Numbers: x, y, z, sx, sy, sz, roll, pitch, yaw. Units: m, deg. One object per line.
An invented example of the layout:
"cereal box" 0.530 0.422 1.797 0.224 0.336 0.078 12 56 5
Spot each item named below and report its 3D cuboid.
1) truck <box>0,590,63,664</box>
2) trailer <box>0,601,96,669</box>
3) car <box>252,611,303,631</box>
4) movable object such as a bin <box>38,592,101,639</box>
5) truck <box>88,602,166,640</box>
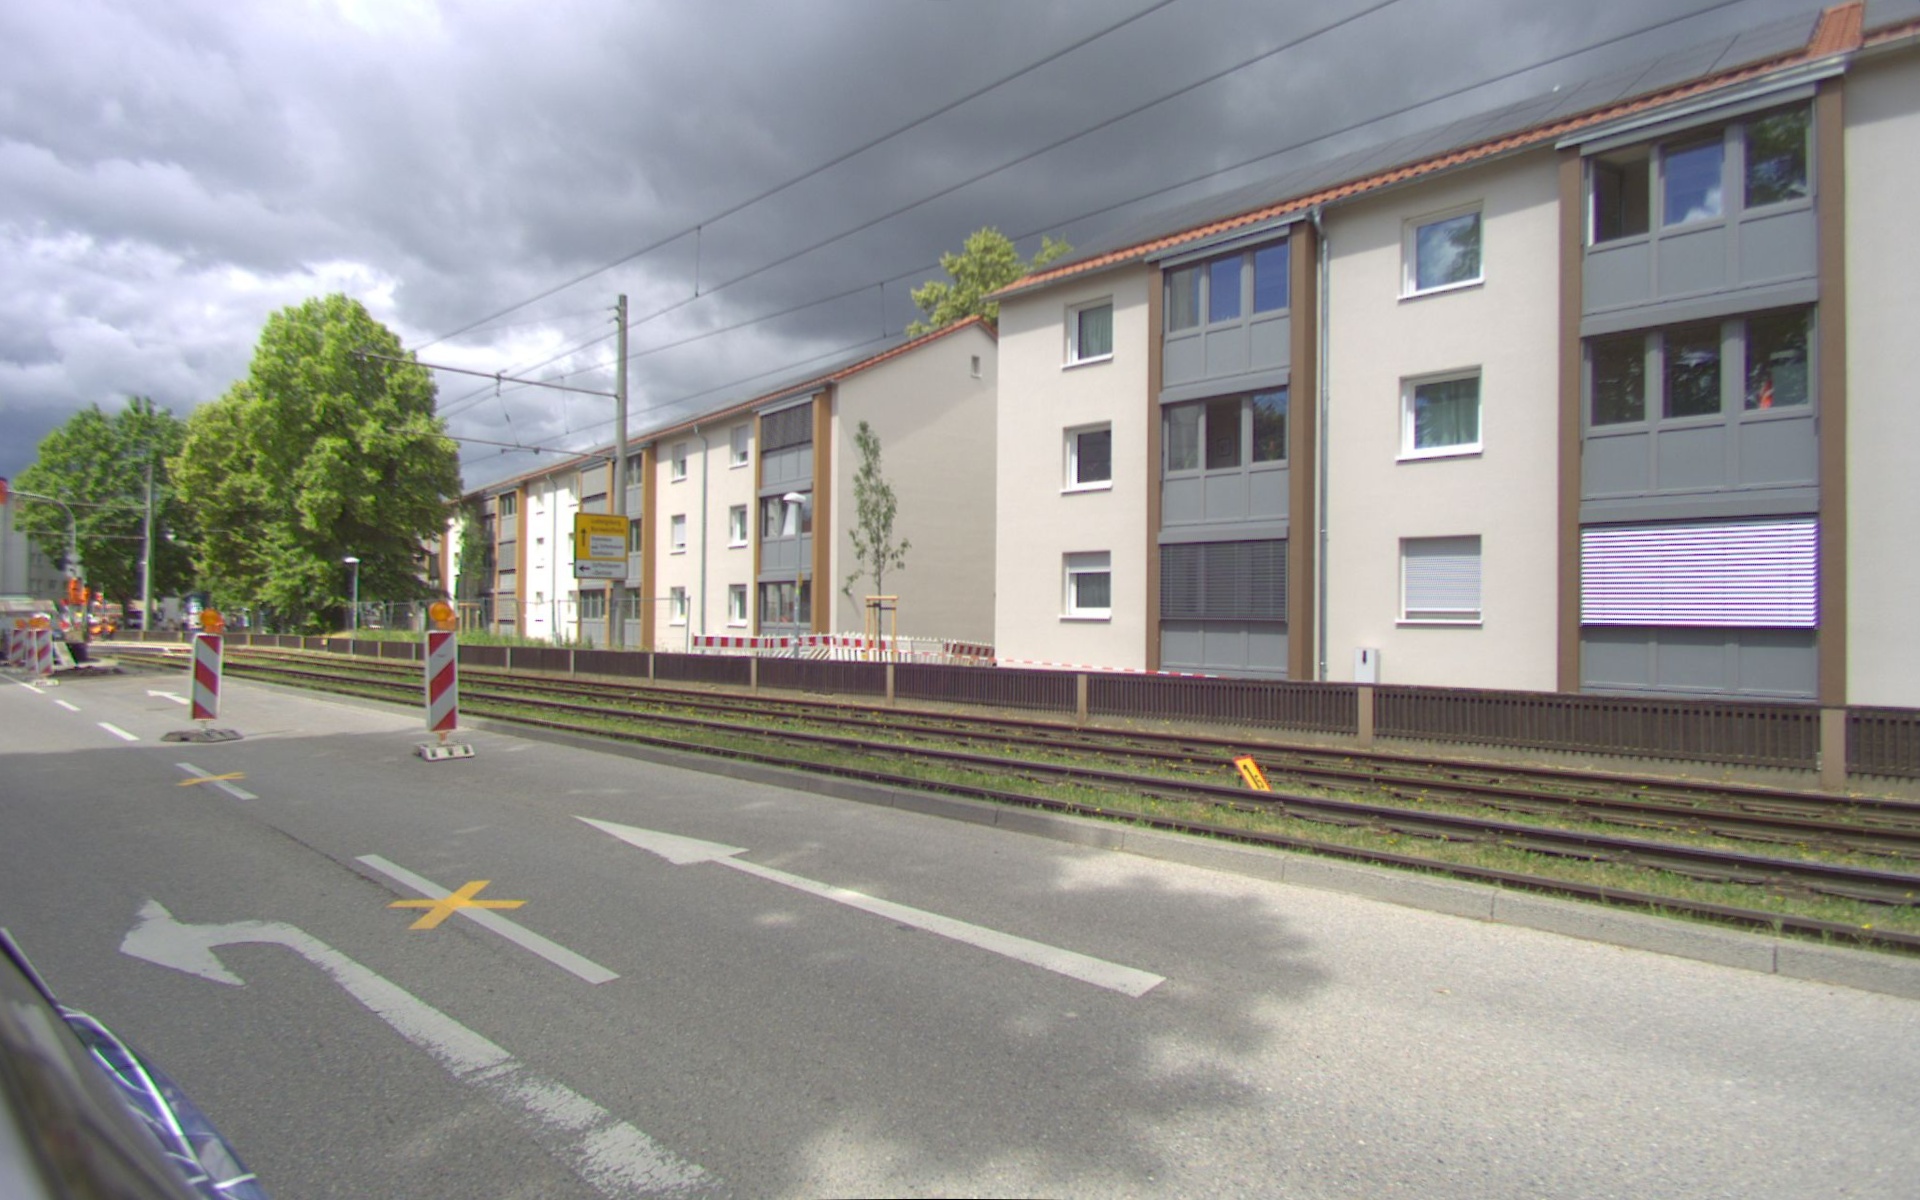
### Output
"truck" -37.562 1.039 39.742 6.390 2.746 2.635 -1 -1 40
"trailer" -32.779 1.172 35.627 6.243 2.230 2.635 -1 -1 40
"car" -51.370 1.585 76.199 3.150 1.466 1.568 2 -2 -35
"movable object such as a bin" -89.771 1.671 102.173 2.777 4.570 6.229 1 -2 -22
"truck" -59.982 1.512 73.009 2.378 2.588 5.600 1 -1 -17
